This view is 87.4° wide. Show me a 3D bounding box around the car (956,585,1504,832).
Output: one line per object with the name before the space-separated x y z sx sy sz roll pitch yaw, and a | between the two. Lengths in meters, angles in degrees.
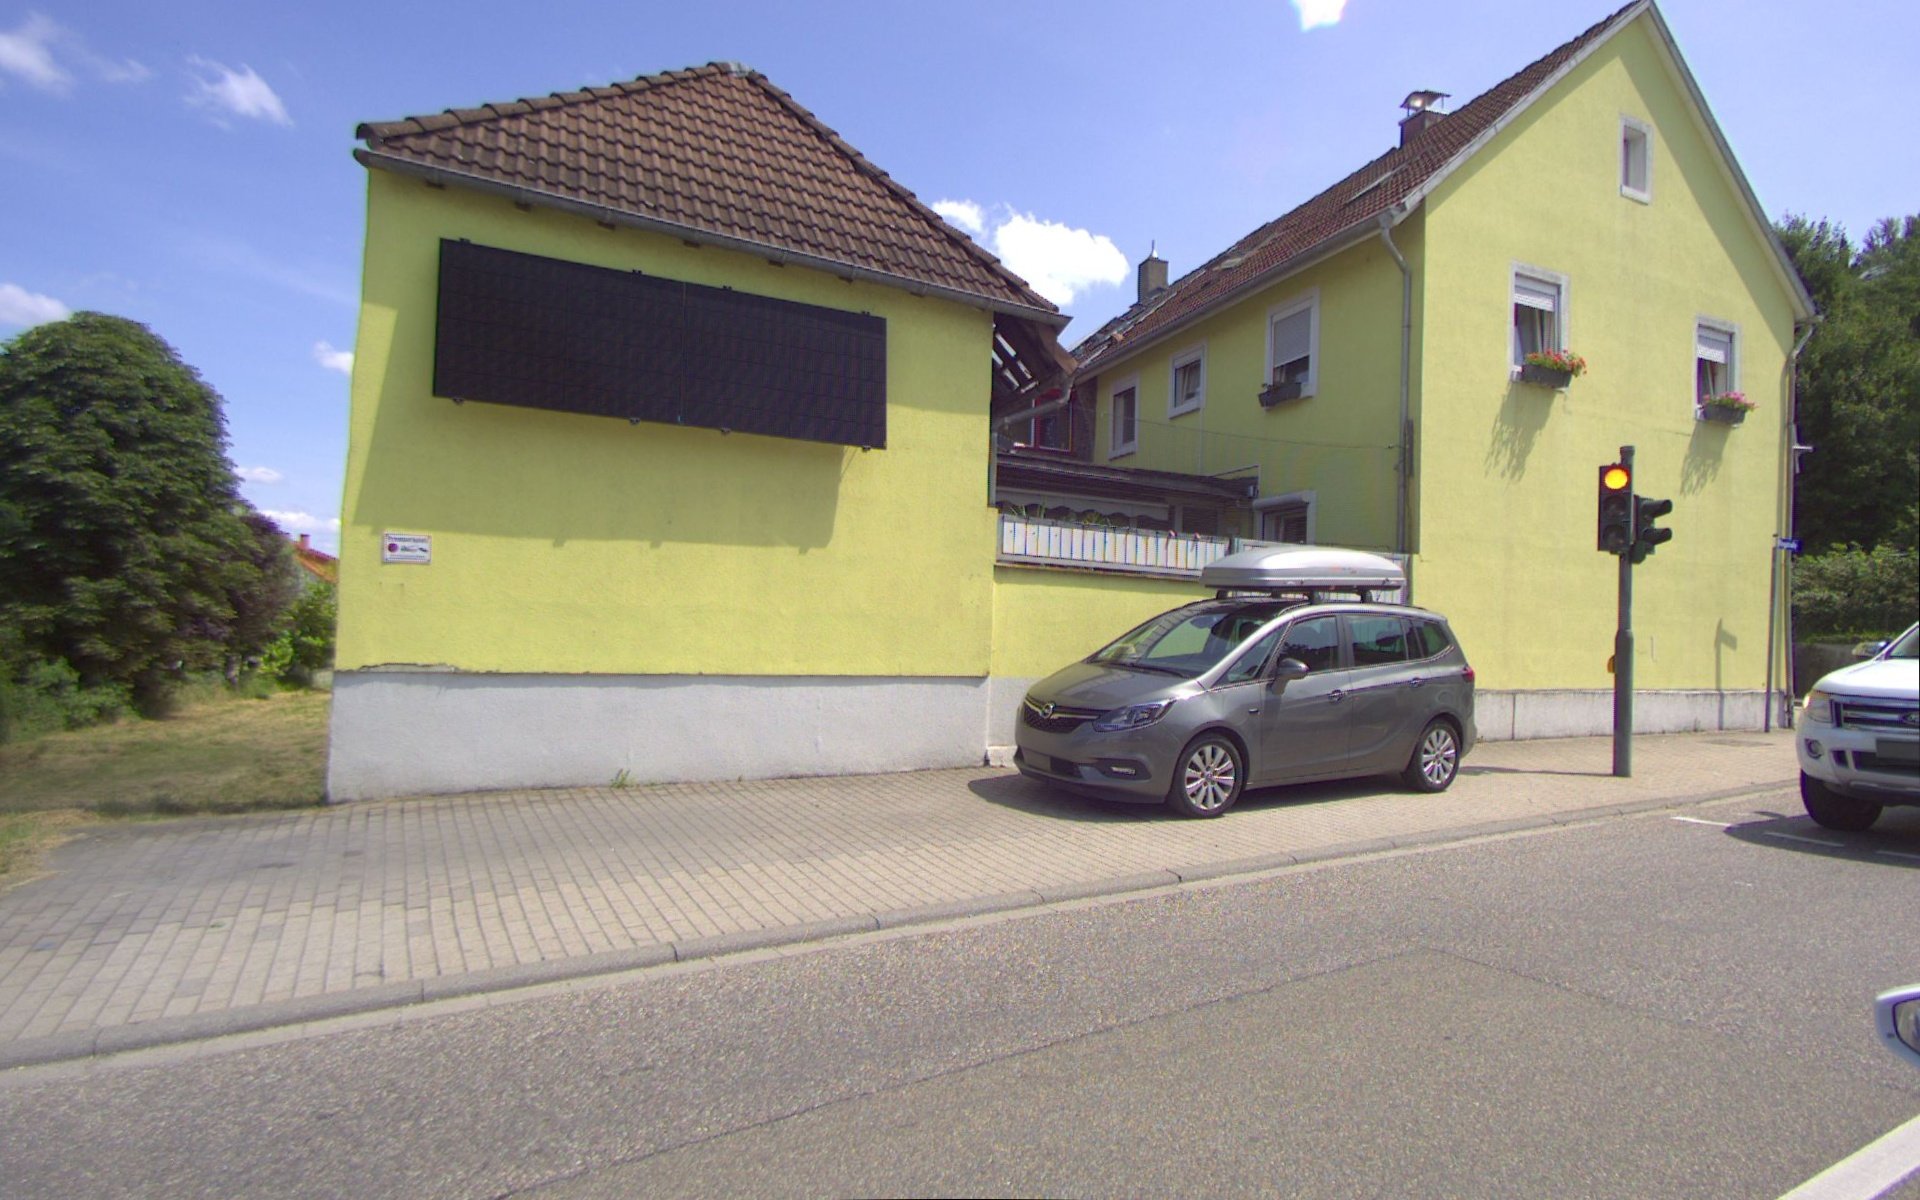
car | 2.445 0.783 8.819 4.575 1.657 1.984 2 1 -30

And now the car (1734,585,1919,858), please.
car | 8.642 0.862 7.909 5.245 1.799 1.966 1 -2 -27
